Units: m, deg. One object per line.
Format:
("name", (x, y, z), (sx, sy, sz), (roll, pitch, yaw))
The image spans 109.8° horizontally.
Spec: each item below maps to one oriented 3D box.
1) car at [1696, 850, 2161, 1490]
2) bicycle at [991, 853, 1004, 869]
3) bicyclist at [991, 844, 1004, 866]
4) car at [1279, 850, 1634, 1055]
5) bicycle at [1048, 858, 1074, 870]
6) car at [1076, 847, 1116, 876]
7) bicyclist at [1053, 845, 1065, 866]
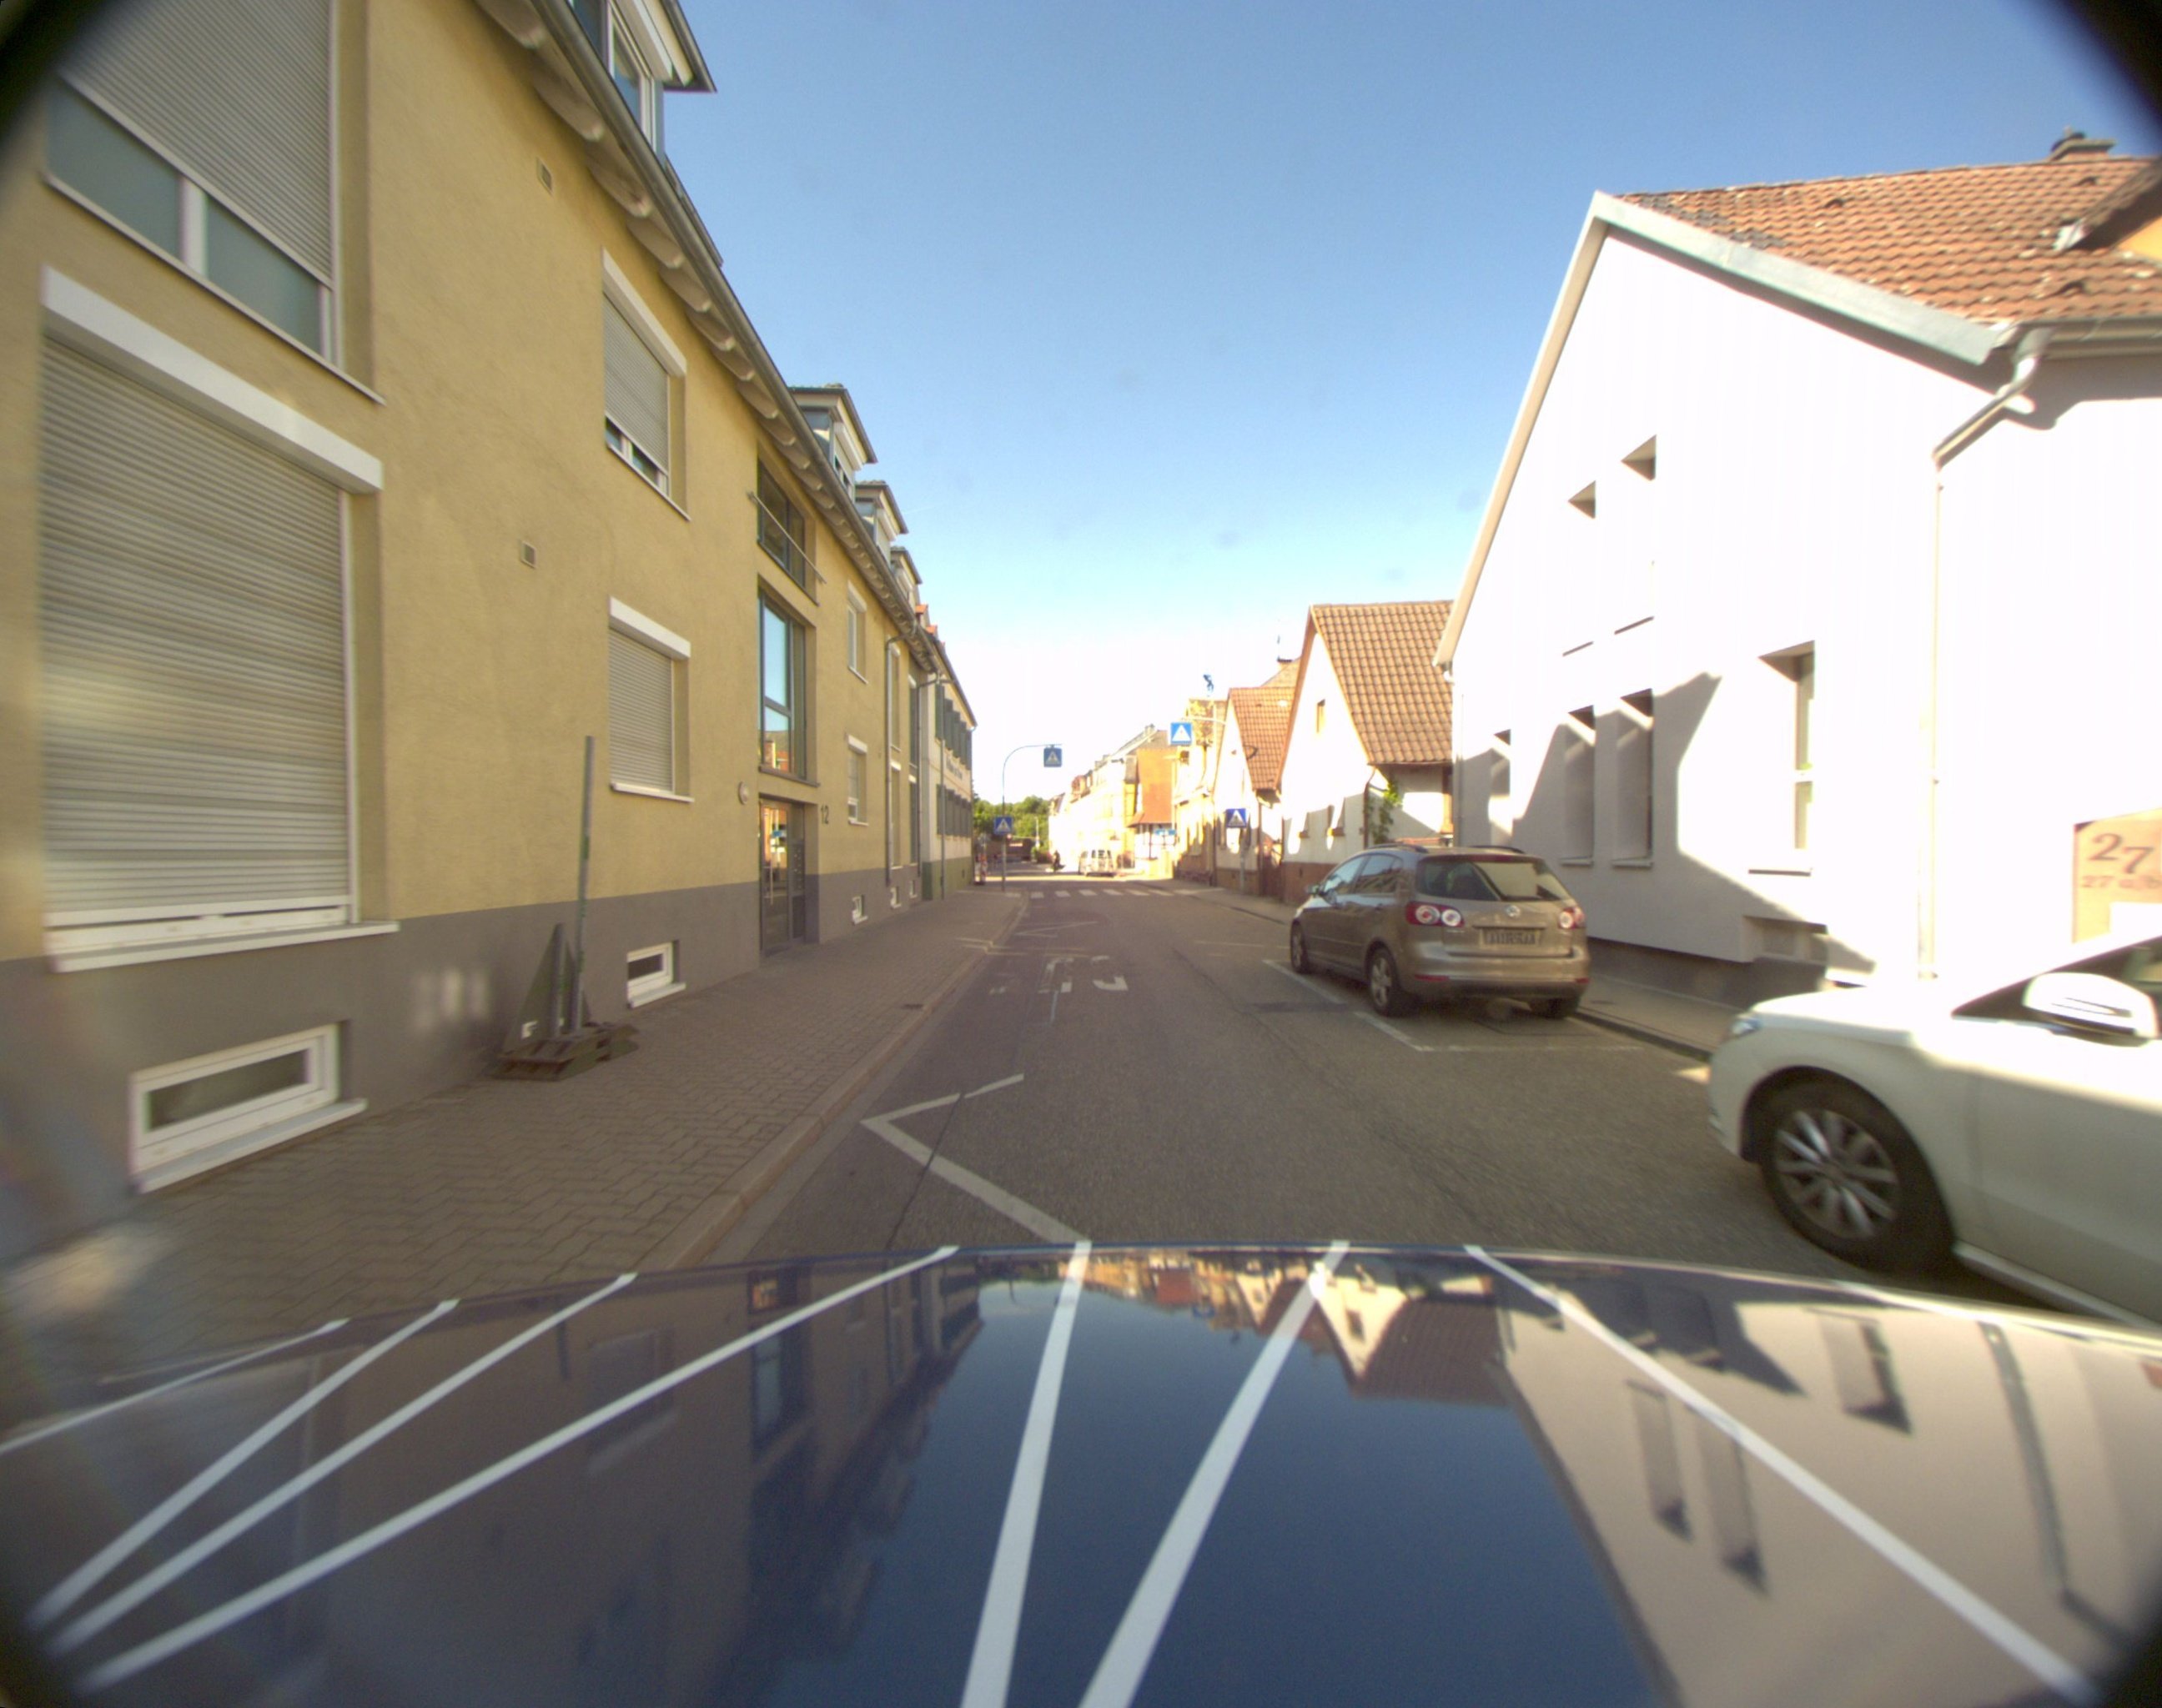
("car", (3.563, 0.800, 1.224), (1.820, 1.558, 4.168), (0, 1, 1))
("bicycle", (-9.137, 0.760, 83.274), (1.257, 1.543, 3.997), (-3, 1, -6))
("bicyclist", (-9.160, 0.085, 83.345), (1.257, 2.295, 1.242), (-3, 2, -6))
("car", (3.558, 0.783, 8.141), (1.747, 1.604, 3.999), (0, 1, -1))
("bicycle", (-1.541, 0.779, 58.160), (1.916, 0.774, 0.623), (-4, 2, -38))
("car", (0.982, 0.449, 51.812), (1.881, 1.870, 4.830), (0, 1, -9))
("bicyclist", (-1.672, 0.134, 58.071), (0.656, 1.525, 0.609), (-4, 2, -37))
